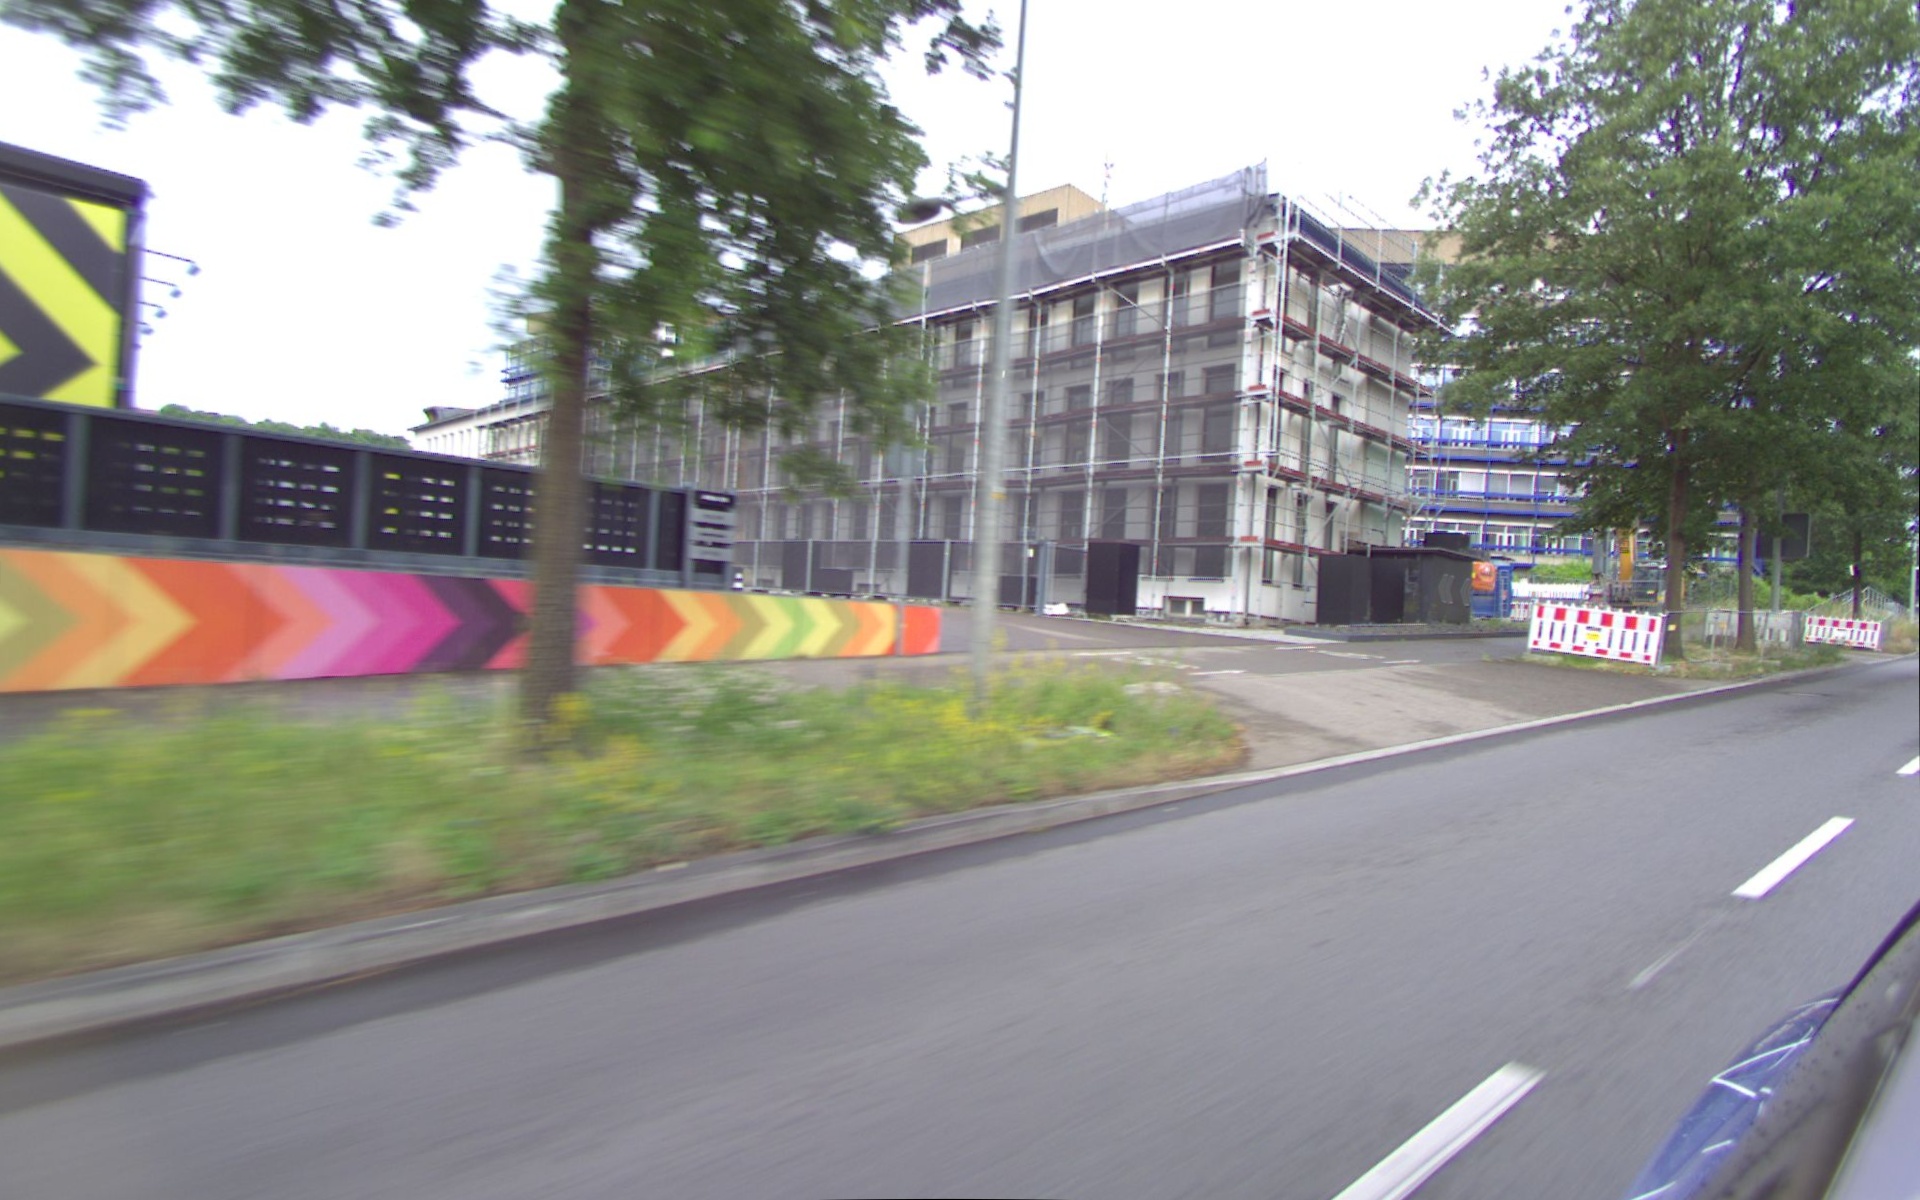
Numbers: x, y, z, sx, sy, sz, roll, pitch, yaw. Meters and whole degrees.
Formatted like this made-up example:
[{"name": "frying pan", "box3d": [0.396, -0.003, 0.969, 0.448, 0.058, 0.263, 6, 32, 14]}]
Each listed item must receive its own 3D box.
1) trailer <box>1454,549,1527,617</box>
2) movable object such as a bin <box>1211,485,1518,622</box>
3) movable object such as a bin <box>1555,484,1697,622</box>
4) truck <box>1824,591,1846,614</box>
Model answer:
[{"name": "trailer", "box3d": [25.936, -0.784, 49.747, 2.617, 3.081, 7.437, 0, 0, 24]}, {"name": "movable object such as a bin", "box3d": [17.512, -2.060, 45.016, 3.726, 5.326, 12.157, 0, 2, -43]}, {"name": "movable object such as a bin", "box3d": [30.709, -1.985, 46.491, 8.612, 5.757, 3.295, 0, 0, -42]}, {"name": "truck", "box3d": [98.583, 0.267, 113.993, 1.745, 2.549, 3.939, 0, 0, 42]}]
